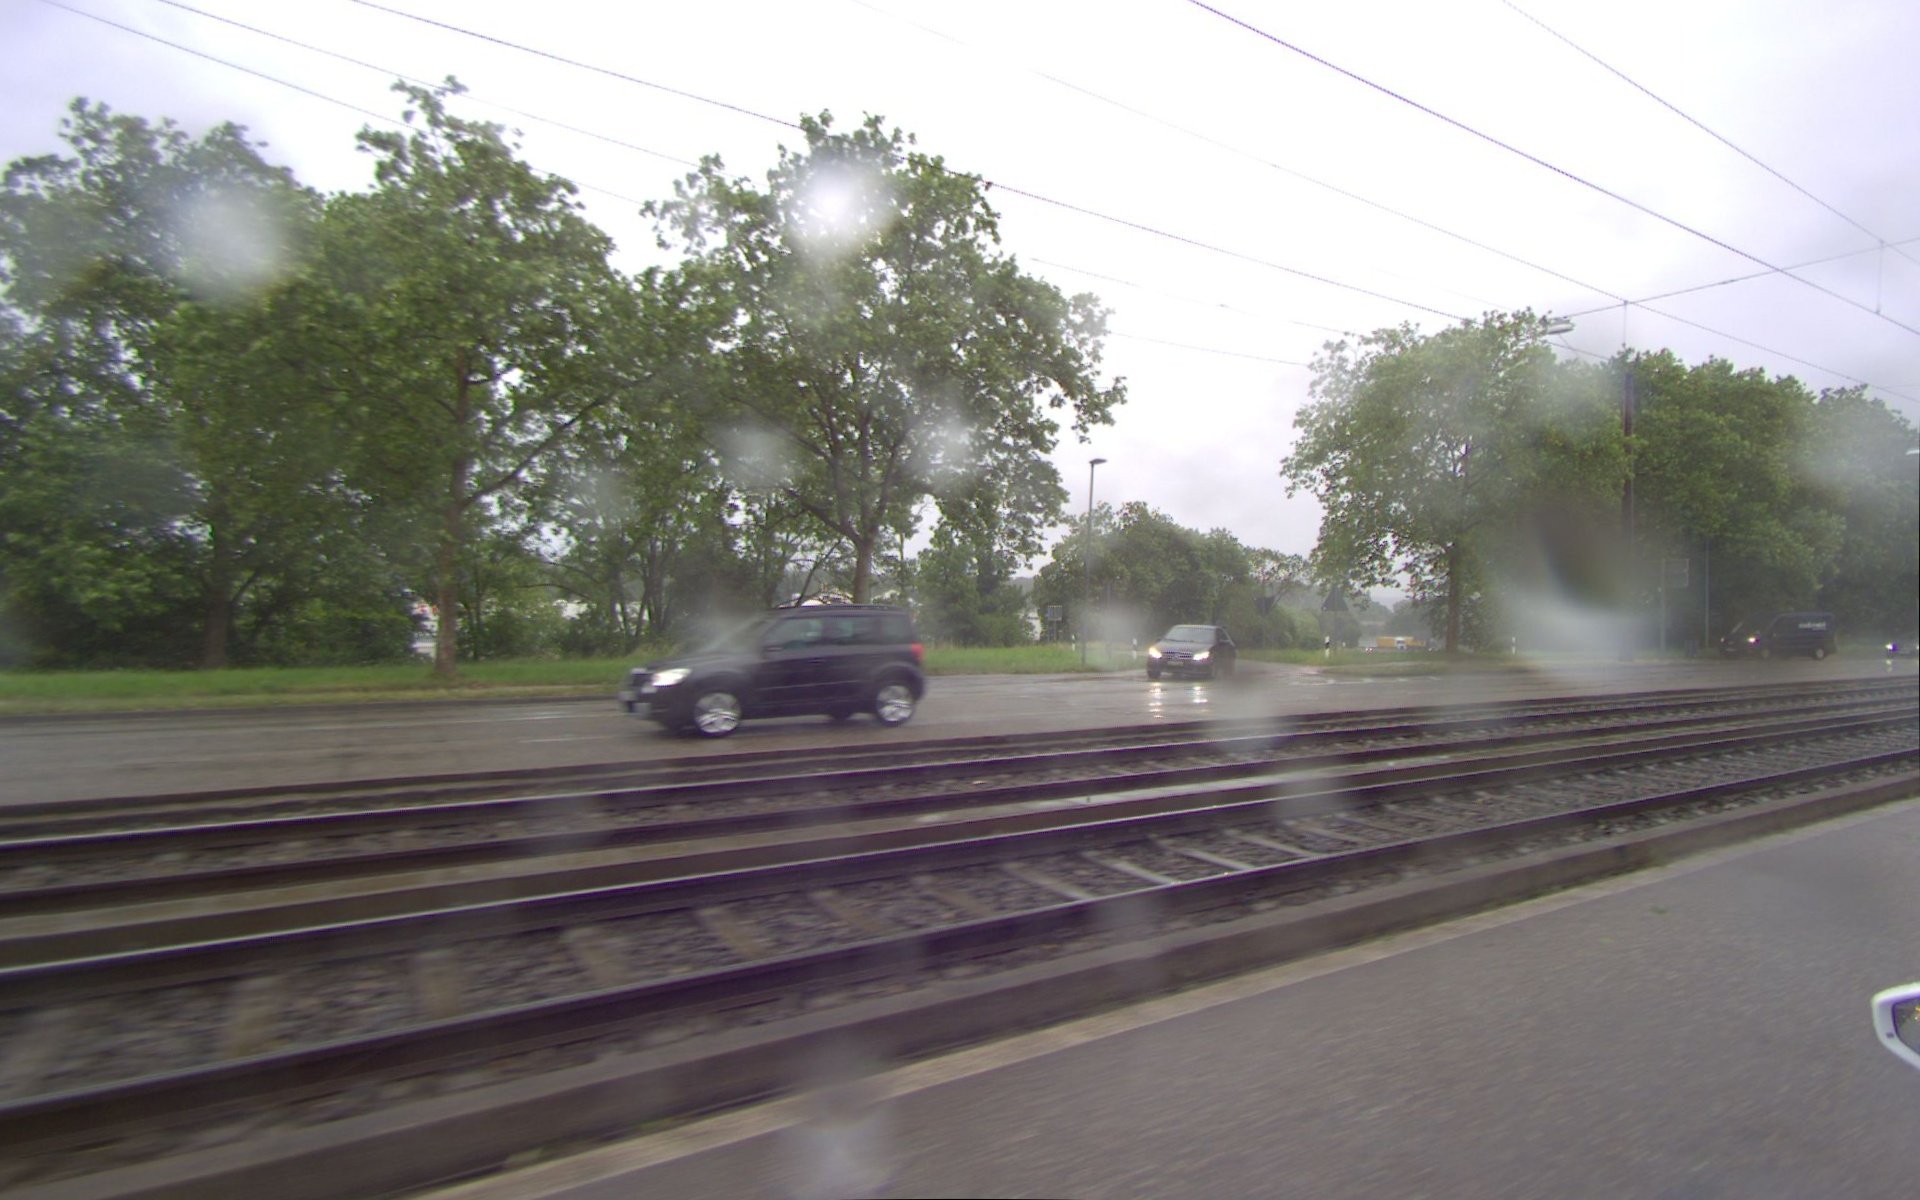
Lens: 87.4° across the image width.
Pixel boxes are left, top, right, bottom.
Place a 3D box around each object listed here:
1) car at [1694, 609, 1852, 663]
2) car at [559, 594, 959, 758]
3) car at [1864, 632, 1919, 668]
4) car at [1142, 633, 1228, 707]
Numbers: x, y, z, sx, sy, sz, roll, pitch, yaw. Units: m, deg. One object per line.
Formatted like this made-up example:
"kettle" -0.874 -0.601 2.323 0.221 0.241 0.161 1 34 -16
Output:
"car" 40.570 1.764 50.260 5.730 2.458 2.340 1 1 6
"car" -2.589 0.865 13.520 4.952 1.834 1.875 0 1 -34
"car" 52.158 2.700 54.572 4.679 1.822 2.085 1 1 -11
"car" 6.401 1.937 29.043 1.810 1.709 4.651 1 1 5
